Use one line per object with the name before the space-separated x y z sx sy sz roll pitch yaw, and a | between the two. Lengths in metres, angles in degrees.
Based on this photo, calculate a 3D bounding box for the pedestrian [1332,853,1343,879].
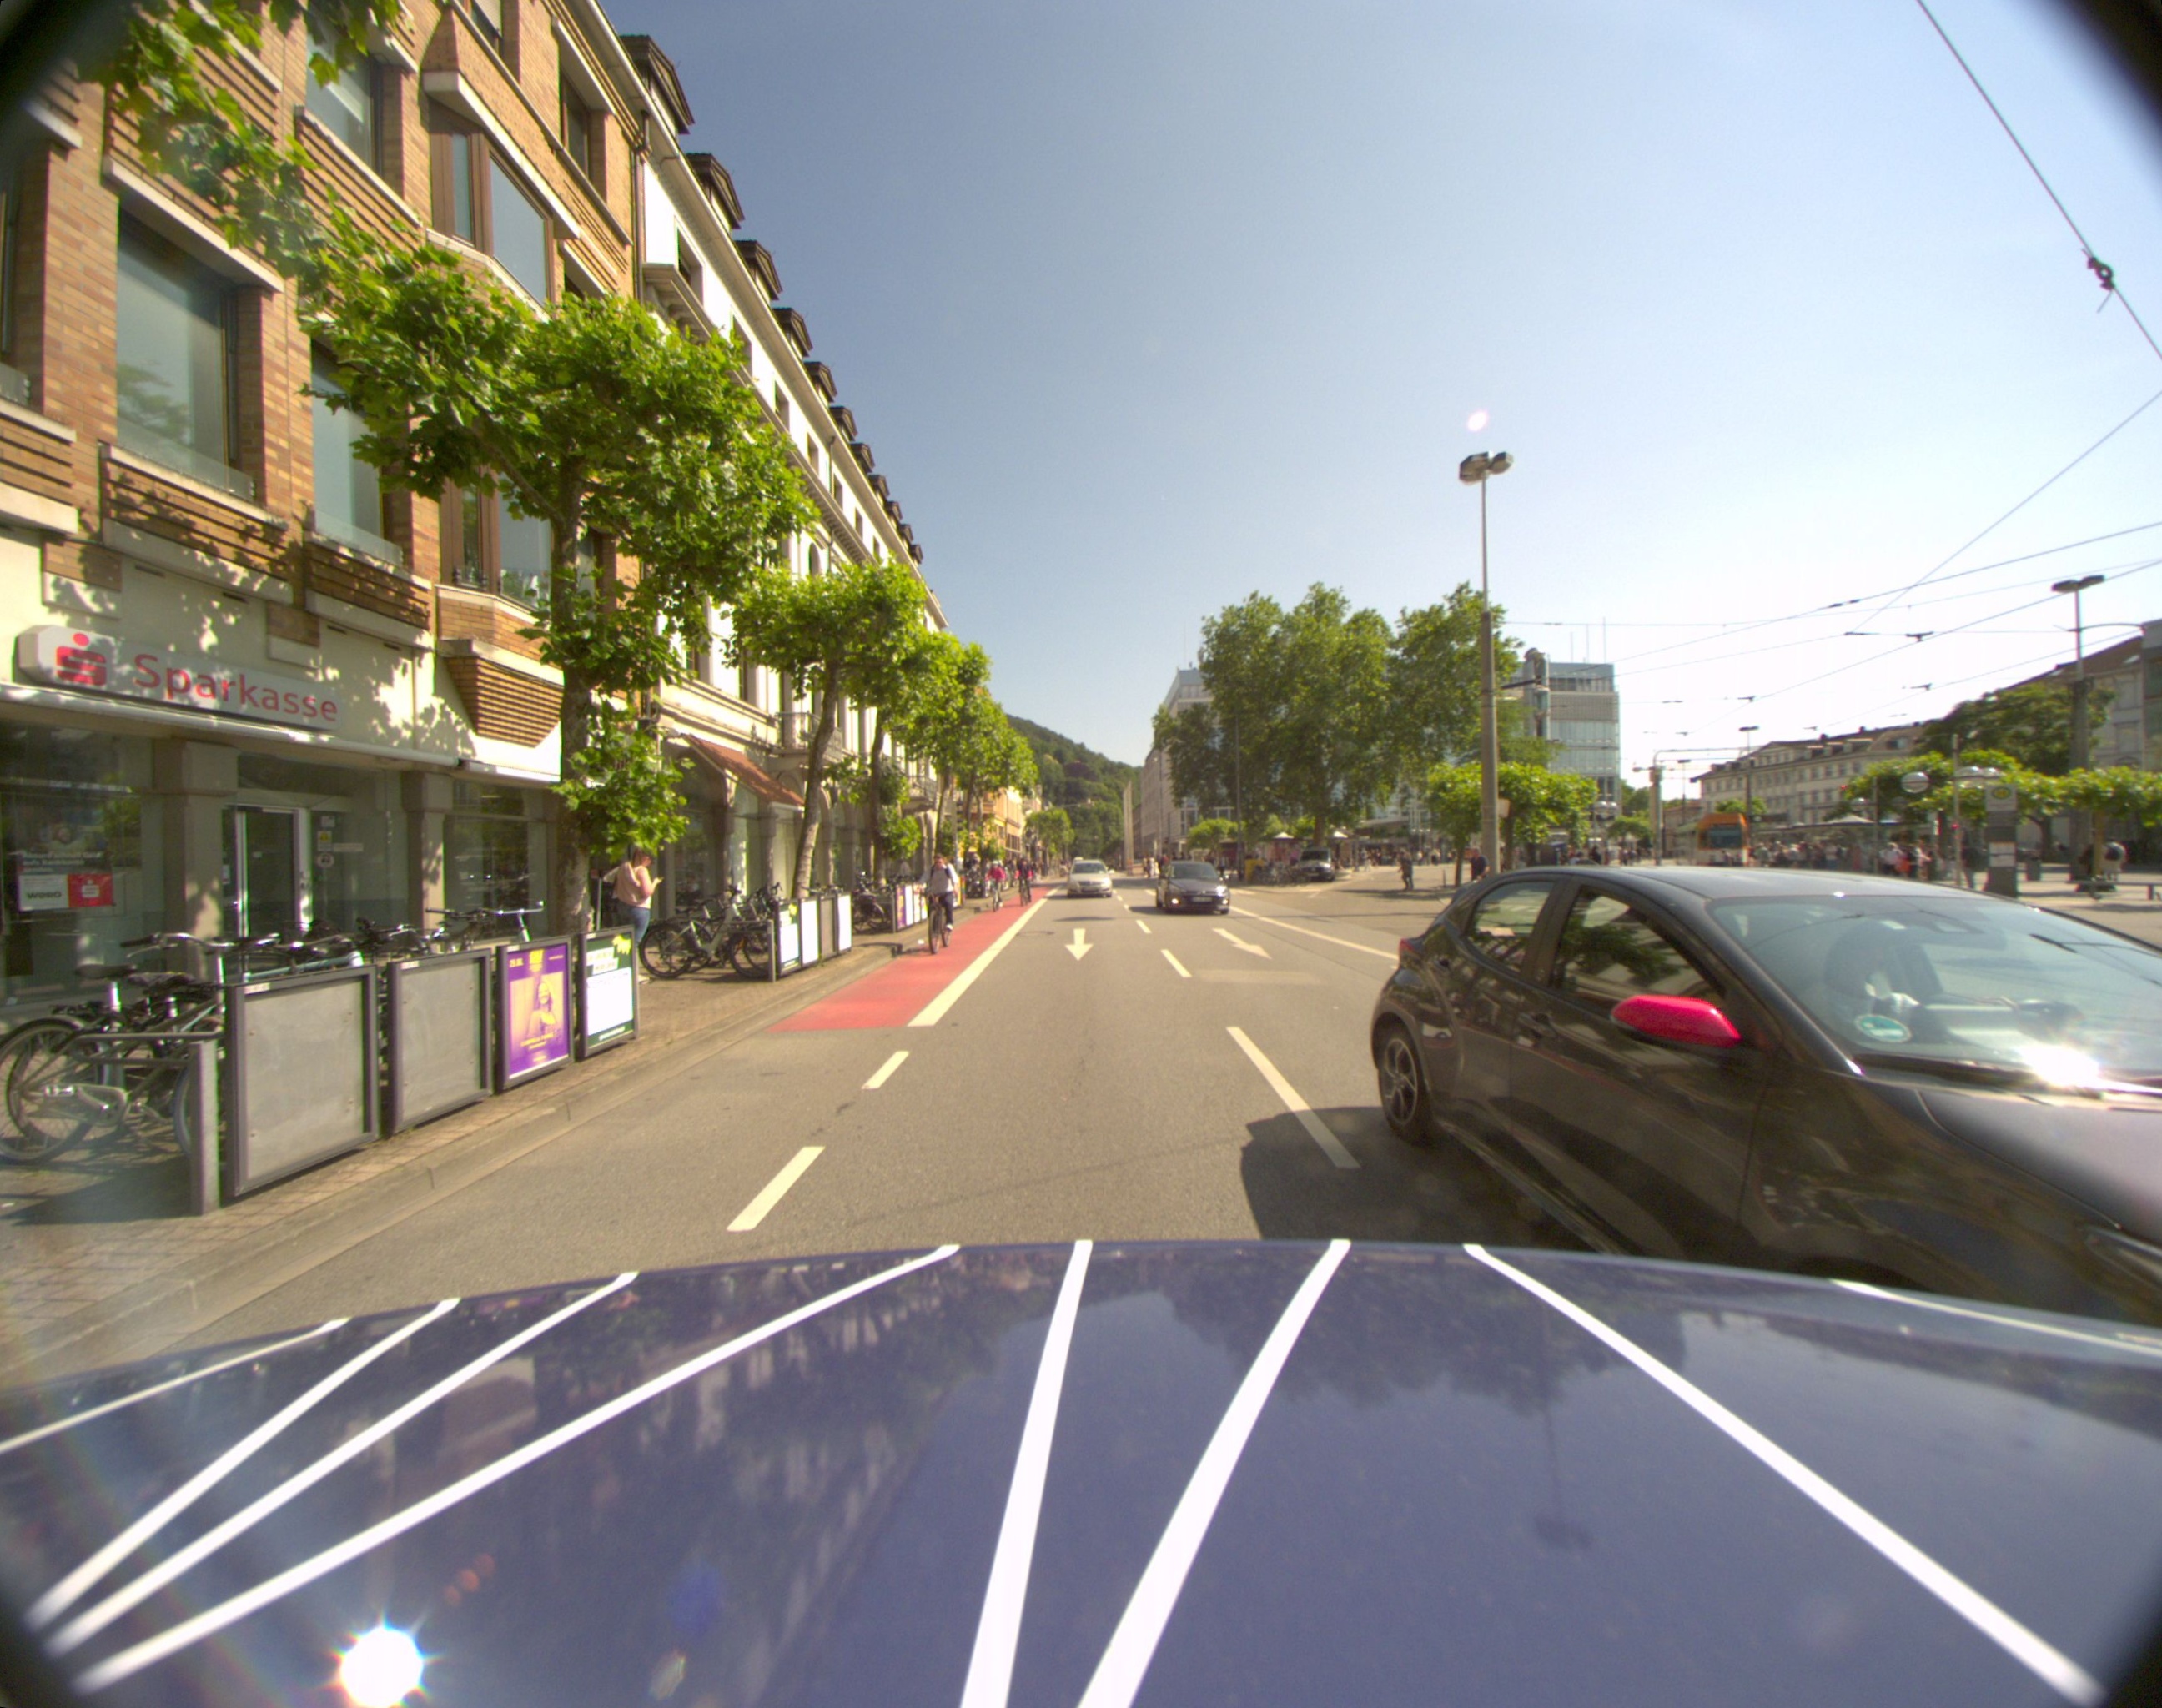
pedestrian | 17.633 0.809 52.270 0.554 1.717 0.492 -3 1 8

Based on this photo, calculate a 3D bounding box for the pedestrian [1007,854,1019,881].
pedestrian | -4.896 0.962 54.729 0.686 1.847 0.622 -3 1 -3

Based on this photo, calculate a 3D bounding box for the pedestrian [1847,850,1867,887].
pedestrian | 36.795 0.686 36.008 0.559 1.708 0.465 1 0 -22

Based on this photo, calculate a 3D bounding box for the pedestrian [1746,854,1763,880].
pedestrian | 39.856 0.771 44.958 0.577 1.540 0.682 1 0 27

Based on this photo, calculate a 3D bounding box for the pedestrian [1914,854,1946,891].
pedestrian | 34.603 0.754 30.974 0.626 1.492 0.679 1 0 -22

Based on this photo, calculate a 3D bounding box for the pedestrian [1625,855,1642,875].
pedestrian | 40.614 0.805 55.858 0.757 1.464 0.555 -3 1 0

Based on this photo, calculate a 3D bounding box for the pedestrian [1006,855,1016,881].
pedestrian | -4.915 0.997 53.609 0.578 1.792 0.697 -3 1 -3

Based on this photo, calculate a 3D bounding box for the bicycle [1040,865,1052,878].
bicycle | -3.108 1.521 67.910 0.737 1.086 1.895 2 0 -13

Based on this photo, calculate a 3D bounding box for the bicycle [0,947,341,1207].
bicycle | -4.887 1.095 3.838 1.757 1.140 0.483 -1 0 -2

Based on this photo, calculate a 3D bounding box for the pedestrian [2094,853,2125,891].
pedestrian | 40.773 0.712 30.122 0.626 1.457 0.679 2 0 -33

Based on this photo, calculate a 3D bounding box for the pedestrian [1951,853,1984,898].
pedestrian | 27.976 0.675 23.969 0.682 1.410 0.623 2 0 -38

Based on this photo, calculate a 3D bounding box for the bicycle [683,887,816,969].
bicycle | -4.983 1.104 11.465 1.757 1.140 0.483 -1 0 -2

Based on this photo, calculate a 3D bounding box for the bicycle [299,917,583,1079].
bicycle | -4.987 1.106 5.982 1.757 1.140 0.483 -1 0 -2

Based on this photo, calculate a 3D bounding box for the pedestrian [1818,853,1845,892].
pedestrian | 35.059 0.844 35.475 0.626 1.784 0.679 1 0 -22

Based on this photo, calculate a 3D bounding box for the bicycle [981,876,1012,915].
bicycle | -2.600 1.263 23.450 0.736 1.086 1.819 -2 0 -1

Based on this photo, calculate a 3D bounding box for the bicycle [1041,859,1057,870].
bicycle | -3.490 1.143 83.433 1.757 1.140 0.592 -1 0 -2

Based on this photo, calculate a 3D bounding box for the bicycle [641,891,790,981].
bicycle | -4.967 1.105 10.390 1.757 1.140 0.483 -1 0 -2

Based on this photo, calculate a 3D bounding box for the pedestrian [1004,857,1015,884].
pedestrian | -4.547 1.022 48.085 0.578 1.675 0.775 -3 1 -3

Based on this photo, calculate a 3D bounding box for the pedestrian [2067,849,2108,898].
pedestrian | 32.930 0.635 24.865 0.600 1.543 0.530 1 0 3

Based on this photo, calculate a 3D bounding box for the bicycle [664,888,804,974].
bicycle | -4.959 1.095 10.918 1.757 1.140 0.483 -1 0 -2

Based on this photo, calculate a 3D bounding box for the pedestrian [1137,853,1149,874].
pedestrian | 5.398 0.798 65.848 0.876 1.737 0.733 -3 1 -1

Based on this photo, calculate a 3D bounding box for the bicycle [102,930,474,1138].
bicycle | -4.916 1.093 4.774 1.757 1.140 0.483 -1 0 -2

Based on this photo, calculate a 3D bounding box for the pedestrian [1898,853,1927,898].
pedestrian | 32.240 0.829 29.474 0.561 1.720 0.588 1 0 -22

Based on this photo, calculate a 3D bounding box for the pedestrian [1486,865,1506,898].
pedestrian | 15.655 1.039 28.671 0.577 1.226 0.555 -1 1 35

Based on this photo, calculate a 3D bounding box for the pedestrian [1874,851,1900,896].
pedestrian | 30.036 0.711 28.319 0.473 1.656 0.521 1 0 -22

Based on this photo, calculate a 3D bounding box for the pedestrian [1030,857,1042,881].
pedestrian | -3.270 1.104 54.986 0.579 1.675 0.726 -3 1 -22

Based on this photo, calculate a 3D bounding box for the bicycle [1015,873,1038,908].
bicycle | -1.852 1.231 26.080 0.667 1.086 1.897 -3 0 -2

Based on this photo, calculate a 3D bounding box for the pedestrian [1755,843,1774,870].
pedestrian | 39.222 0.150 43.585 0.681 1.540 0.577 1 0 -26

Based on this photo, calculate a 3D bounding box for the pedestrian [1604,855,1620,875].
pedestrian | 39.938 0.853 57.144 0.757 1.464 0.555 -3 1 0

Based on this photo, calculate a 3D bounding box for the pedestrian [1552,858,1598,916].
pedestrian | 14.278 0.940 21.968 0.895 1.649 0.680 -1 0 -9

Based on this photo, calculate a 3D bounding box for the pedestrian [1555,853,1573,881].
pedestrian | 26.749 0.707 42.103 0.573 1.540 0.657 1 0 3

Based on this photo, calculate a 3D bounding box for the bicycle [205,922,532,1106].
bicycle | -4.927 1.087 5.317 1.757 1.140 0.483 -1 0 -2

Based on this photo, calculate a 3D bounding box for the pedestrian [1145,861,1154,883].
pedestrian | 5.345 1.422 59.275 0.575 1.704 0.652 -3 1 -1

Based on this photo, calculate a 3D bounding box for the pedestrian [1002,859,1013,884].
pedestrian | -4.707 1.137 48.841 0.578 1.574 0.622 -3 1 -3

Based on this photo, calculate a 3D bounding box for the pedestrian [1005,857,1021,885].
pedestrian | -4.202 1.059 46.960 0.620 1.675 0.579 -3 1 38

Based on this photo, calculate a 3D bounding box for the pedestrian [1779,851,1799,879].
pedestrian | 39.601 0.637 42.483 0.681 1.540 0.577 1 0 -26

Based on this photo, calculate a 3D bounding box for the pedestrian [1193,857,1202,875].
pedestrian | 11.231 1.121 73.132 0.732 1.660 0.640 -3 1 14

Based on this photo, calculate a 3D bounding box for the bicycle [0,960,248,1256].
bicycle | -4.852 1.093 3.346 1.757 1.140 0.483 -1 0 -2

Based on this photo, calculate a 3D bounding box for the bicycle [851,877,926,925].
bicycle | -4.886 1.186 19.369 1.757 1.140 0.483 -1 0 -2

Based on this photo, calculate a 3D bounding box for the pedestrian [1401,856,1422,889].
pedestrian | 14.705 0.832 33.850 0.624 1.457 0.680 1 0 0

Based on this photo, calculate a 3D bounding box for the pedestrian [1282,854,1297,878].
pedestrian | 13.183 0.736 48.023 0.579 1.452 0.787 -3 1 34

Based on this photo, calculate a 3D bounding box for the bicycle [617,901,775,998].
bicycle | -4.955 1.218 9.837 1.757 1.140 0.483 -1 0 -2

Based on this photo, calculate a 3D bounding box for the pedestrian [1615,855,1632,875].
pedestrian | 40.400 0.835 56.599 0.757 1.464 0.555 -3 1 0

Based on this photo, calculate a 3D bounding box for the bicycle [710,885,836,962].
bicycle | -4.889 1.091 12.115 1.757 1.140 0.499 -1 0 -2

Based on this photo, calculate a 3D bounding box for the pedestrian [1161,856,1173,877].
pedestrian | 7.263 1.074 64.245 0.751 1.737 0.733 -3 1 -10

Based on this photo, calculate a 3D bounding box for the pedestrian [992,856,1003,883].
pedestrian | -5.363 0.970 48.752 0.578 1.675 0.622 -3 1 -3

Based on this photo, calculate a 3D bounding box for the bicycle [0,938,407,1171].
bicycle | -4.901 1.085 4.258 1.757 1.140 0.483 -1 0 -2

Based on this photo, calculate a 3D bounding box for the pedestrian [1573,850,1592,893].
pedestrian | 20.359 0.715 30.844 0.623 1.735 0.682 1 0 35

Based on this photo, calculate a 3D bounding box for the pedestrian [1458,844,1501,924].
pedestrian | 10.270 0.754 19.571 0.897 1.995 0.678 1 0 -43

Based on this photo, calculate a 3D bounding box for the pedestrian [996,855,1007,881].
pedestrian | -5.224 0.916 49.935 0.578 1.714 0.622 -3 1 -3

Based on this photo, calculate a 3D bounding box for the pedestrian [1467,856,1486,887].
pedestrian | 19.097 0.842 36.666 0.727 1.457 0.682 1 0 21

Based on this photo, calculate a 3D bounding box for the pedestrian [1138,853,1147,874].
pedestrian | 5.232 0.797 65.025 0.639 1.737 0.733 -3 1 -1

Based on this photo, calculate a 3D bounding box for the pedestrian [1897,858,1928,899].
pedestrian | 30.252 0.898 27.638 0.626 1.457 0.552 1 0 -22

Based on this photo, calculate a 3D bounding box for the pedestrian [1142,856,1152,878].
pedestrian | 5.382 1.070 62.216 0.639 1.737 0.733 -3 1 -1

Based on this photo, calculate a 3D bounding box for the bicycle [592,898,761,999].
bicycle | -4.926 1.141 9.311 1.757 1.140 0.483 -1 0 -2
